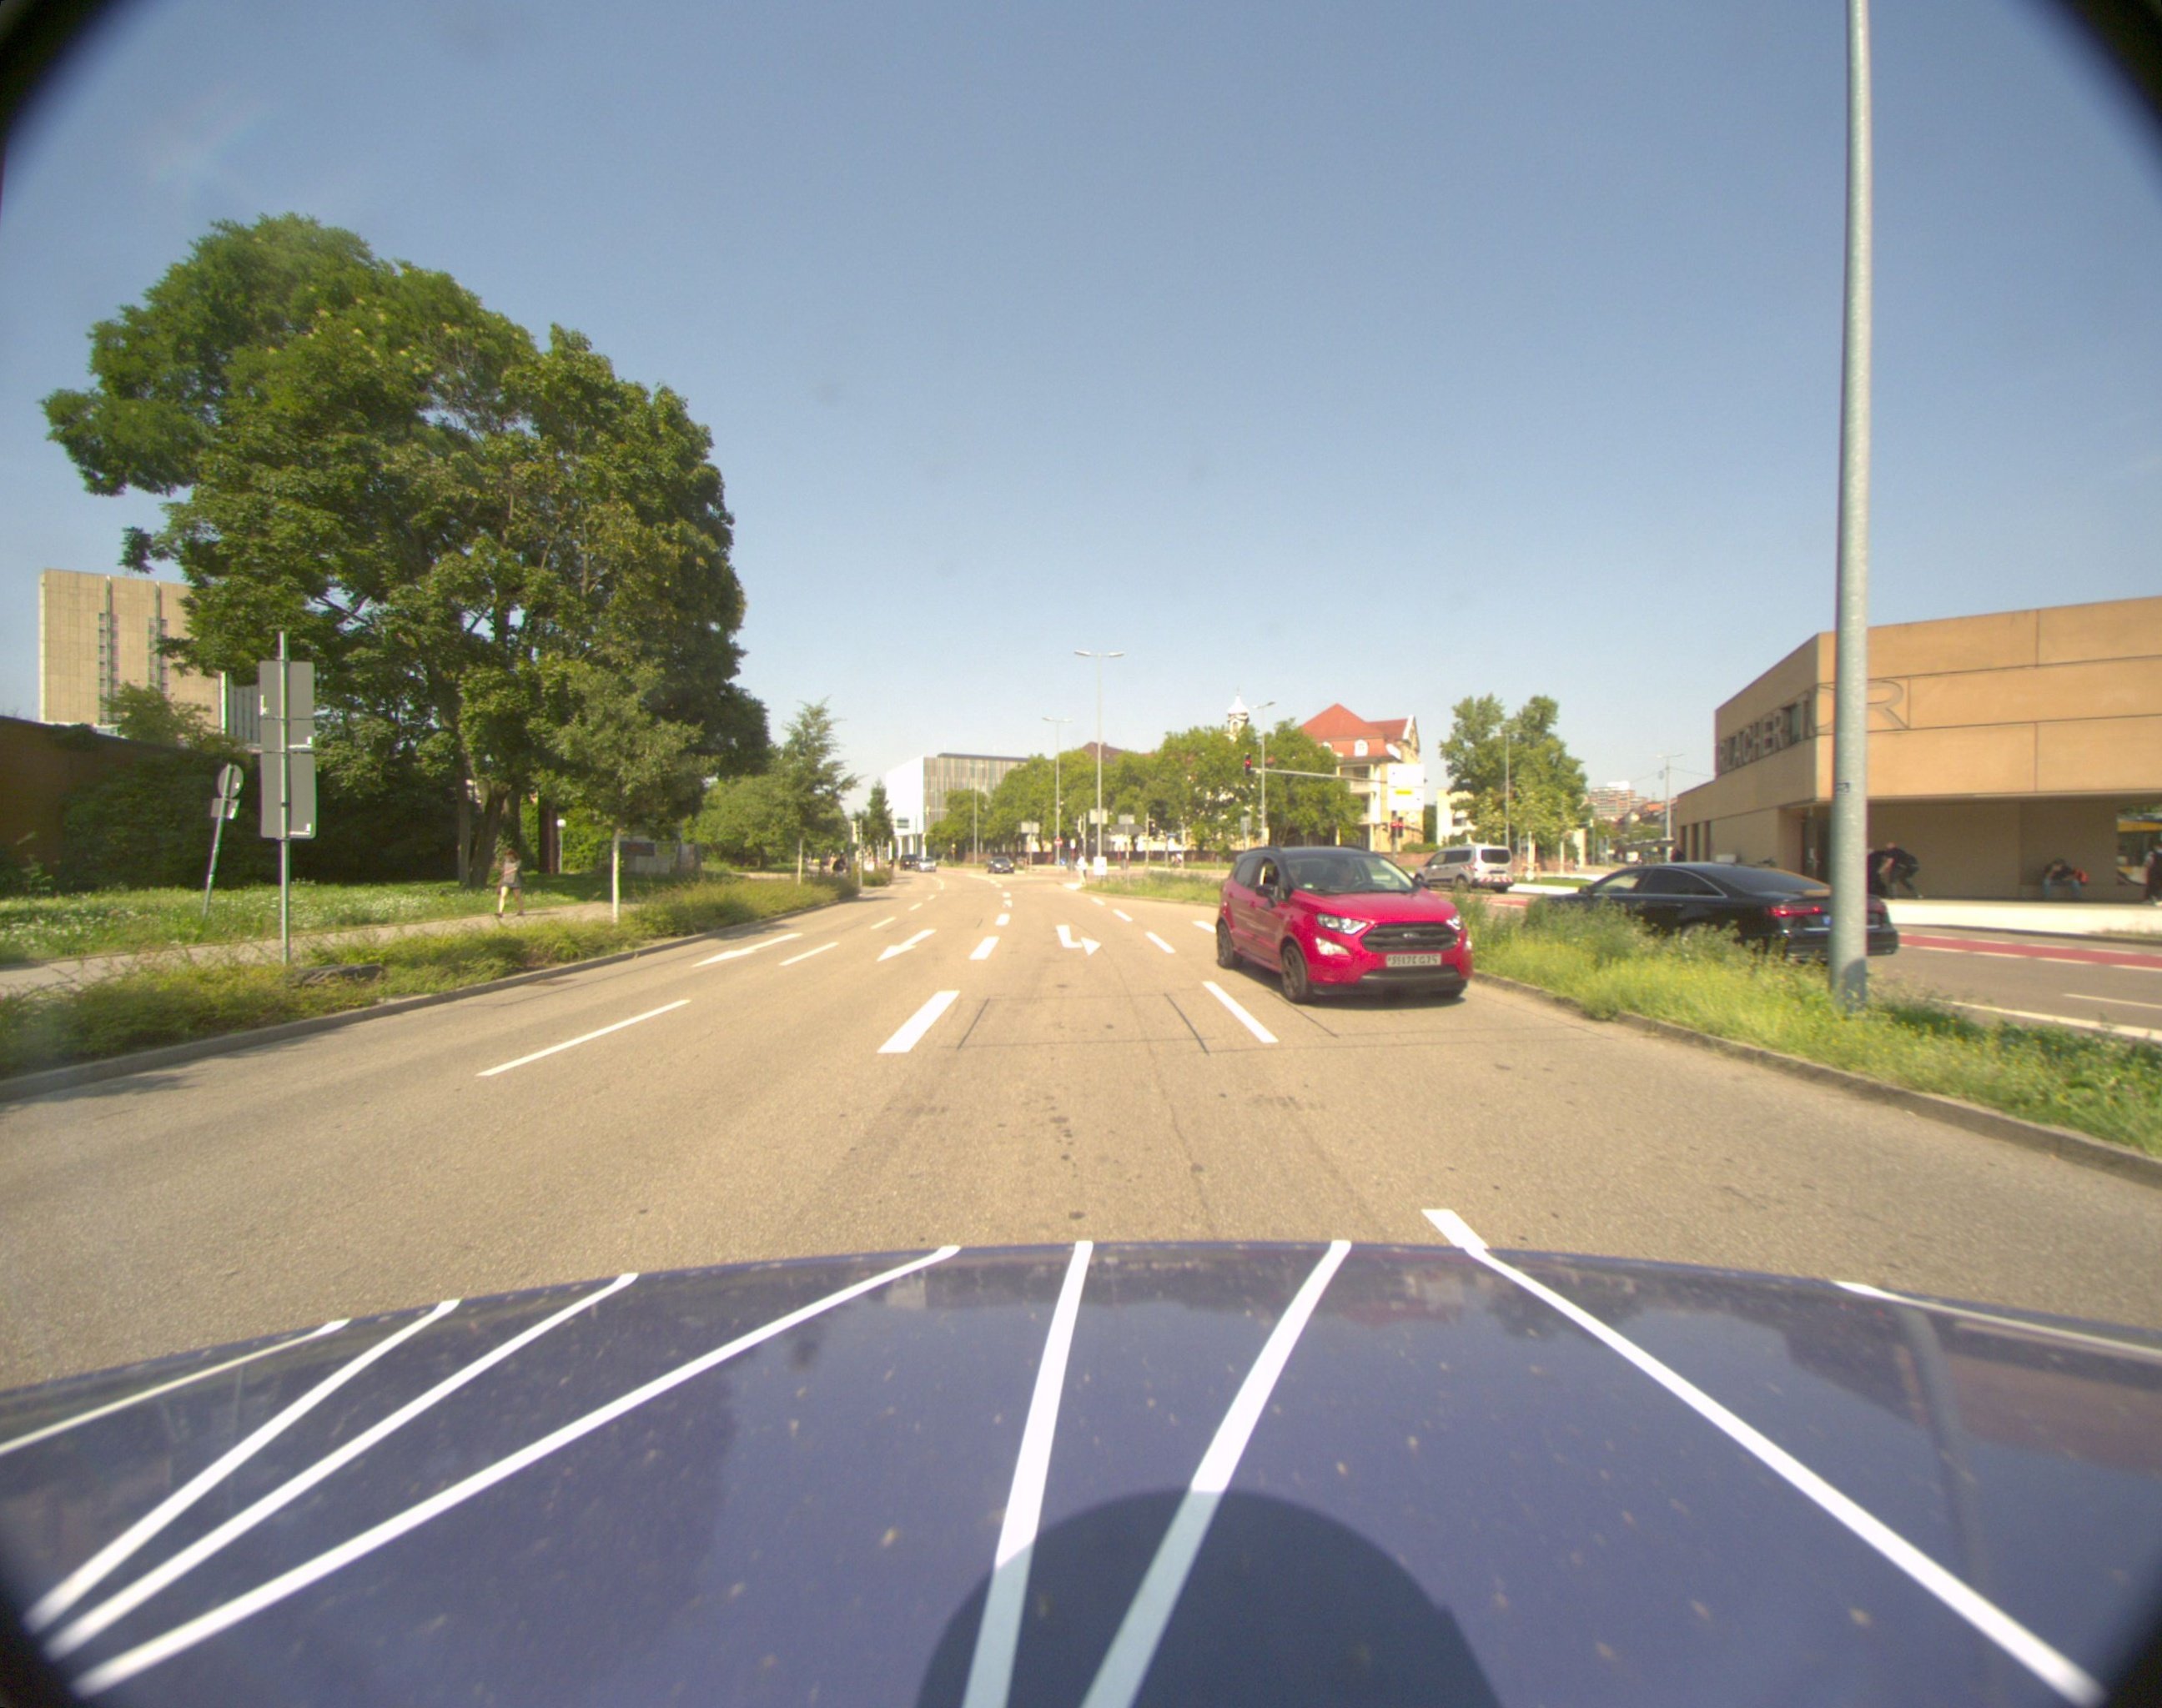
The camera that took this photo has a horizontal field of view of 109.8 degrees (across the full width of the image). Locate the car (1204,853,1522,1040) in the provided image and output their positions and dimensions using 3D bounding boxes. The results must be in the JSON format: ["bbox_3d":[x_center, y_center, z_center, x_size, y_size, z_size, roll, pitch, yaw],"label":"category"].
[{"bbox_3d":[2.854,0.818,8.745,1.845,1.605,3.998,-1,0,-6],"label":"car"}]

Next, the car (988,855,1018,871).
[{"bbox_3d":[-6.878,0.761,66.754,1.793,1.349,3.417,-2,1,-21],"label":"car"}]

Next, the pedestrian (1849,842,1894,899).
[{"bbox_3d":[23.583,0.484,22.673,0.633,1.679,0.745,0,1,-26],"label":"pedestrian"}]

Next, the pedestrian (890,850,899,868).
[{"bbox_3d":[-17.960,0.478,73.330,0.781,1.659,0.548,0,1,-21],"label":"pedestrian"}]

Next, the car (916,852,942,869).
[{"bbox_3d":[-15.739,0.619,78.539,2.002,1.669,3.992,0,0,-21],"label":"car"}]

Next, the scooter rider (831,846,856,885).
[{"bbox_3d":[-10.542,0.507,33.741,0.803,1.729,0.689,1,1,16],"label":"scooter rider"}]

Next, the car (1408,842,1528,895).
[{"bbox_3d":[14.921,0.528,29.624,2.000,1.849,4.330,2,0,-8],"label":"car"}]

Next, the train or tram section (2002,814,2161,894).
[{"bbox_3d":[49.983,0.061,37.389,3.152,3.576,8.263,2,0,30],"label":"train or tram section"}]

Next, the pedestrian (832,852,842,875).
[{"bbox_3d":[-18.762,0.737,58.414,0.695,1.761,0.586,0,1,-20],"label":"pedestrian"}]

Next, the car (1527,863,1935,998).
[{"bbox_3d":[8.938,0.914,11.179,1.775,1.402,4.765,-2,0,-3],"label":"car"}]

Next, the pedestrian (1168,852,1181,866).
[{"bbox_3d":[12.897,0.702,104.822,1.074,2.002,1.231,0,1,-44],"label":"pedestrian"}]

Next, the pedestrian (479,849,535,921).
[{"bbox_3d":[-13.808,0.728,18.293,0.708,1.694,0.878,2,0,-8],"label":"pedestrian"}]

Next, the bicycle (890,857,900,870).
[{"bbox_3d":[-18.003,0.884,73.435,0.787,1.205,1.786,0,0,-20],"label":"bicycle"}]

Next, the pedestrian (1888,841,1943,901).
[{"bbox_3d":[23.836,0.472,21.713,0.646,1.692,0.809,0,1,-3],"label":"pedestrian"}]

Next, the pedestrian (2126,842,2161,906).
[{"bbox_3d":[27.545,0.502,19.507,0.637,1.604,0.694,1,1,35],"label":"pedestrian"}]

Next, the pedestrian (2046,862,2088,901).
[{"bbox_3d":[27.584,0.766,21.258,0.539,1.078,0.501,1,1,29],"label":"pedestrian"}]

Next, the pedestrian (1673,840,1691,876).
[{"bbox_3d":[28.746,0.193,36.334,0.567,1.668,0.537,1,1,29],"label":"pedestrian"}]

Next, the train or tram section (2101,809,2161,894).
[{"bbox_3d":[45.873,-0.081,30.244,3.136,3.549,8.262,2,0,30],"label":"train or tram section"}]

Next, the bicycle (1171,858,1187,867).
[{"bbox_3d":[9.212,0.778,71.271,1.488,0.807,0.436,0,1,-27],"label":"bicycle"}]

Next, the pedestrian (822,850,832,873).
[{"bbox_3d":[-19.465,0.549,58.140,0.695,1.761,0.586,0,1,-20],"label":"pedestrian"}]

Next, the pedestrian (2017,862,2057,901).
[{"bbox_3d":[27.089,0.770,21.529,0.539,1.078,0.501,1,1,29],"label":"pedestrian"}]

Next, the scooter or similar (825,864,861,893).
[{"bbox_3d":[-10.552,1.094,33.692,1.365,1.227,0.586,1,1,15],"label":"scooter or similar"}]

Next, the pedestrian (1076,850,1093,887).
[{"bbox_3d":[0.152,0.673,35.296,0.699,1.685,0.608,1,1,7],"label":"pedestrian"}]

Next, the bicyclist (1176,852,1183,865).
[{"bbox_3d":[9.246,0.393,71.290,0.541,1.225,0.432,1,-1,-27],"label":"bicyclist"}]

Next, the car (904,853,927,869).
[{"bbox_3d":[-19.334,0.802,88.474,2.002,1.769,3.992,0,0,-21],"label":"car"}]

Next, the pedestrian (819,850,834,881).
[{"bbox_3d":[-14.879,0.658,44.397,0.794,1.758,0.825,0,1,-21],"label":"pedestrian"}]
